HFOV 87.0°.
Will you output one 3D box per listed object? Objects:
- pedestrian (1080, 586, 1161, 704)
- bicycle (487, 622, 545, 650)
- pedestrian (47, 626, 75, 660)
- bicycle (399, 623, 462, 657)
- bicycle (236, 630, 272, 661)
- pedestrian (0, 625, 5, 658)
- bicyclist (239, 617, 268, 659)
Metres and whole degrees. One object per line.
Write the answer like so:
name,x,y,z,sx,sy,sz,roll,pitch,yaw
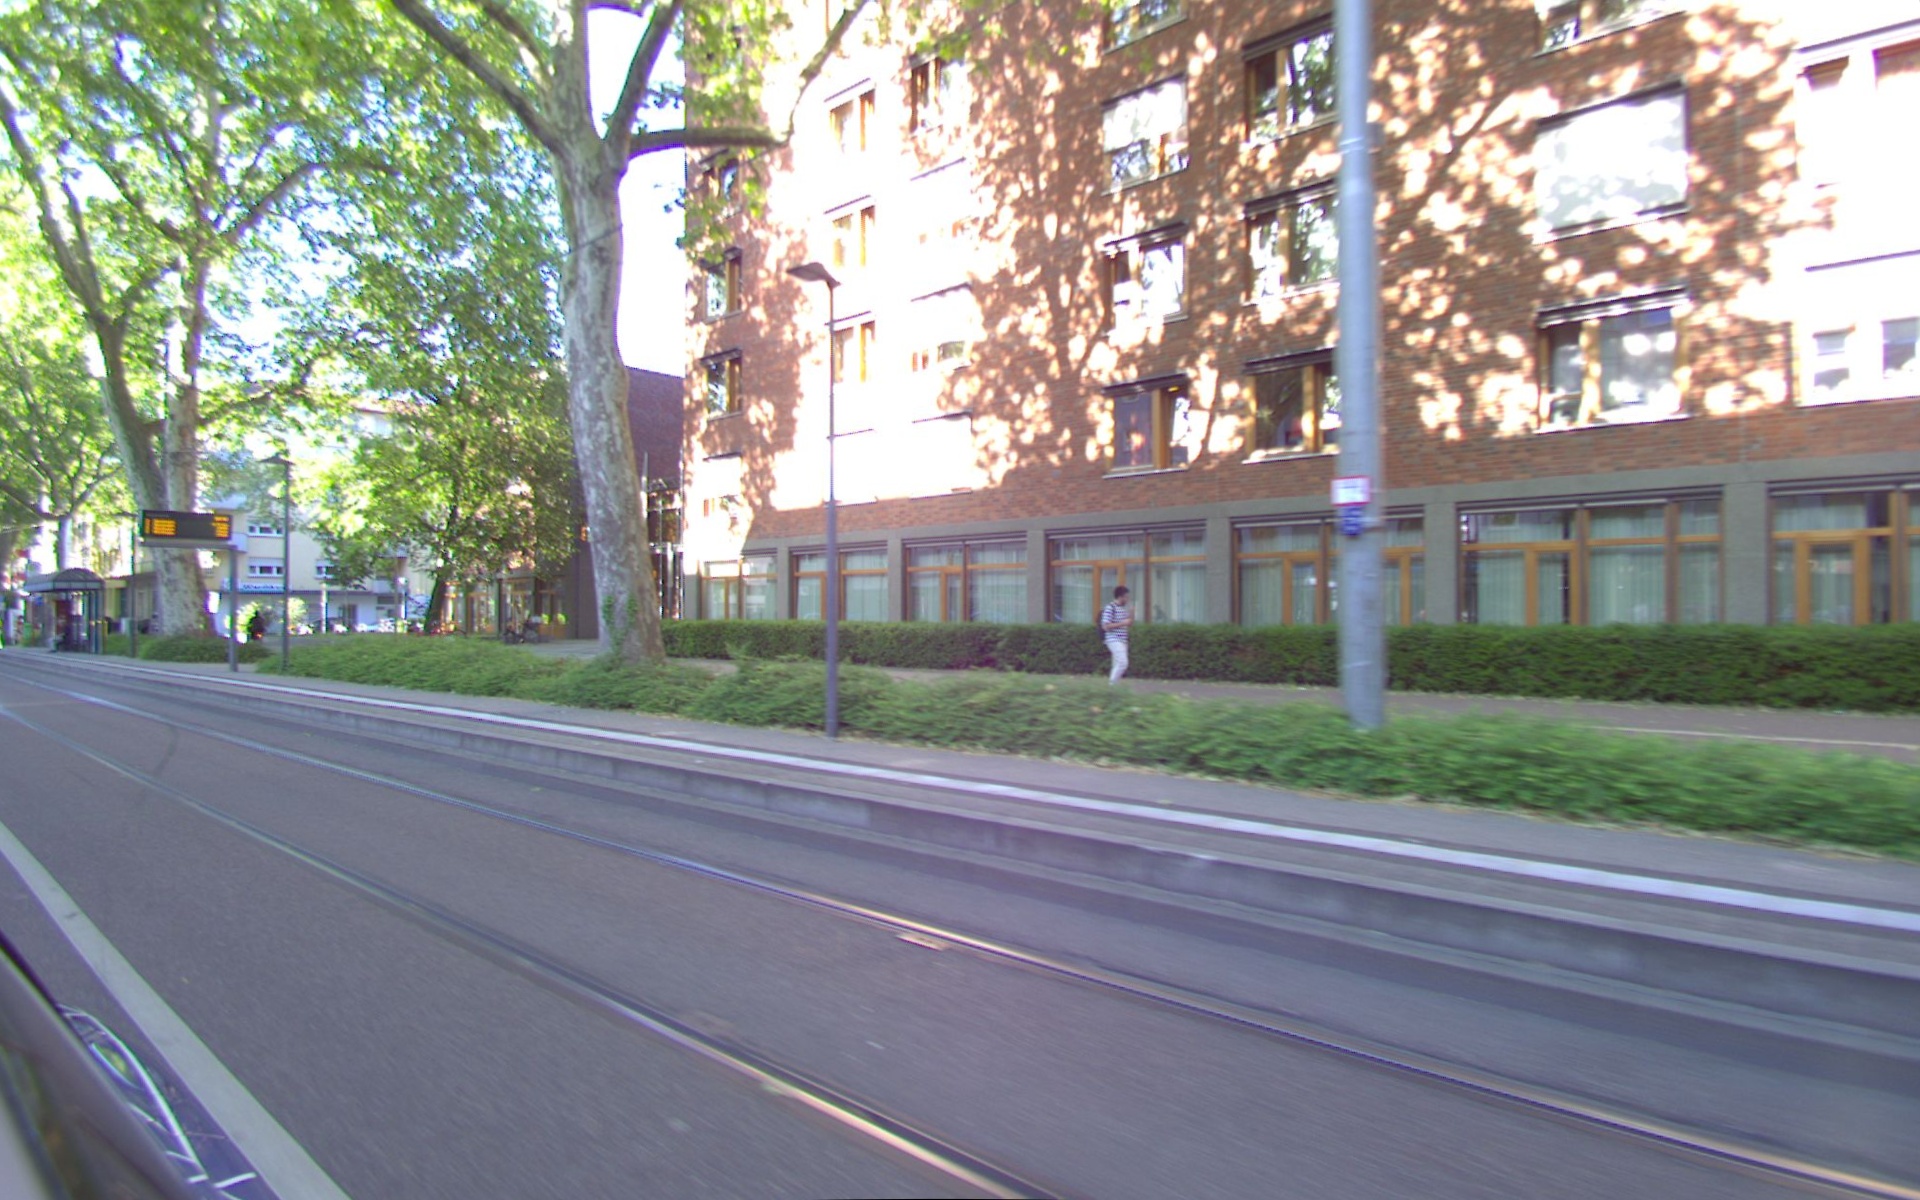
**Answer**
pedestrian,2.482,0.672,15.681,0.972,1.757,0.755,-1,0,41
bicycle,-18.099,1.468,41.253,2.012,1.102,0.821,-1,0,4
pedestrian,-33.020,1.574,37.170,0.473,1.213,0.699,-1,0,42
bicycle,-20.366,1.527,38.906,2.067,1.198,0.883,-1,0,-32
bicycle,-26.871,1.718,38.525,2.039,1.102,0.738,-1,0,44
pedestrian,-46.486,2.002,48.734,0.561,1.606,0.699,-1,0,42
bicyclist,-26.906,1.438,38.555,0.892,1.526,0.725,-1,0,44
